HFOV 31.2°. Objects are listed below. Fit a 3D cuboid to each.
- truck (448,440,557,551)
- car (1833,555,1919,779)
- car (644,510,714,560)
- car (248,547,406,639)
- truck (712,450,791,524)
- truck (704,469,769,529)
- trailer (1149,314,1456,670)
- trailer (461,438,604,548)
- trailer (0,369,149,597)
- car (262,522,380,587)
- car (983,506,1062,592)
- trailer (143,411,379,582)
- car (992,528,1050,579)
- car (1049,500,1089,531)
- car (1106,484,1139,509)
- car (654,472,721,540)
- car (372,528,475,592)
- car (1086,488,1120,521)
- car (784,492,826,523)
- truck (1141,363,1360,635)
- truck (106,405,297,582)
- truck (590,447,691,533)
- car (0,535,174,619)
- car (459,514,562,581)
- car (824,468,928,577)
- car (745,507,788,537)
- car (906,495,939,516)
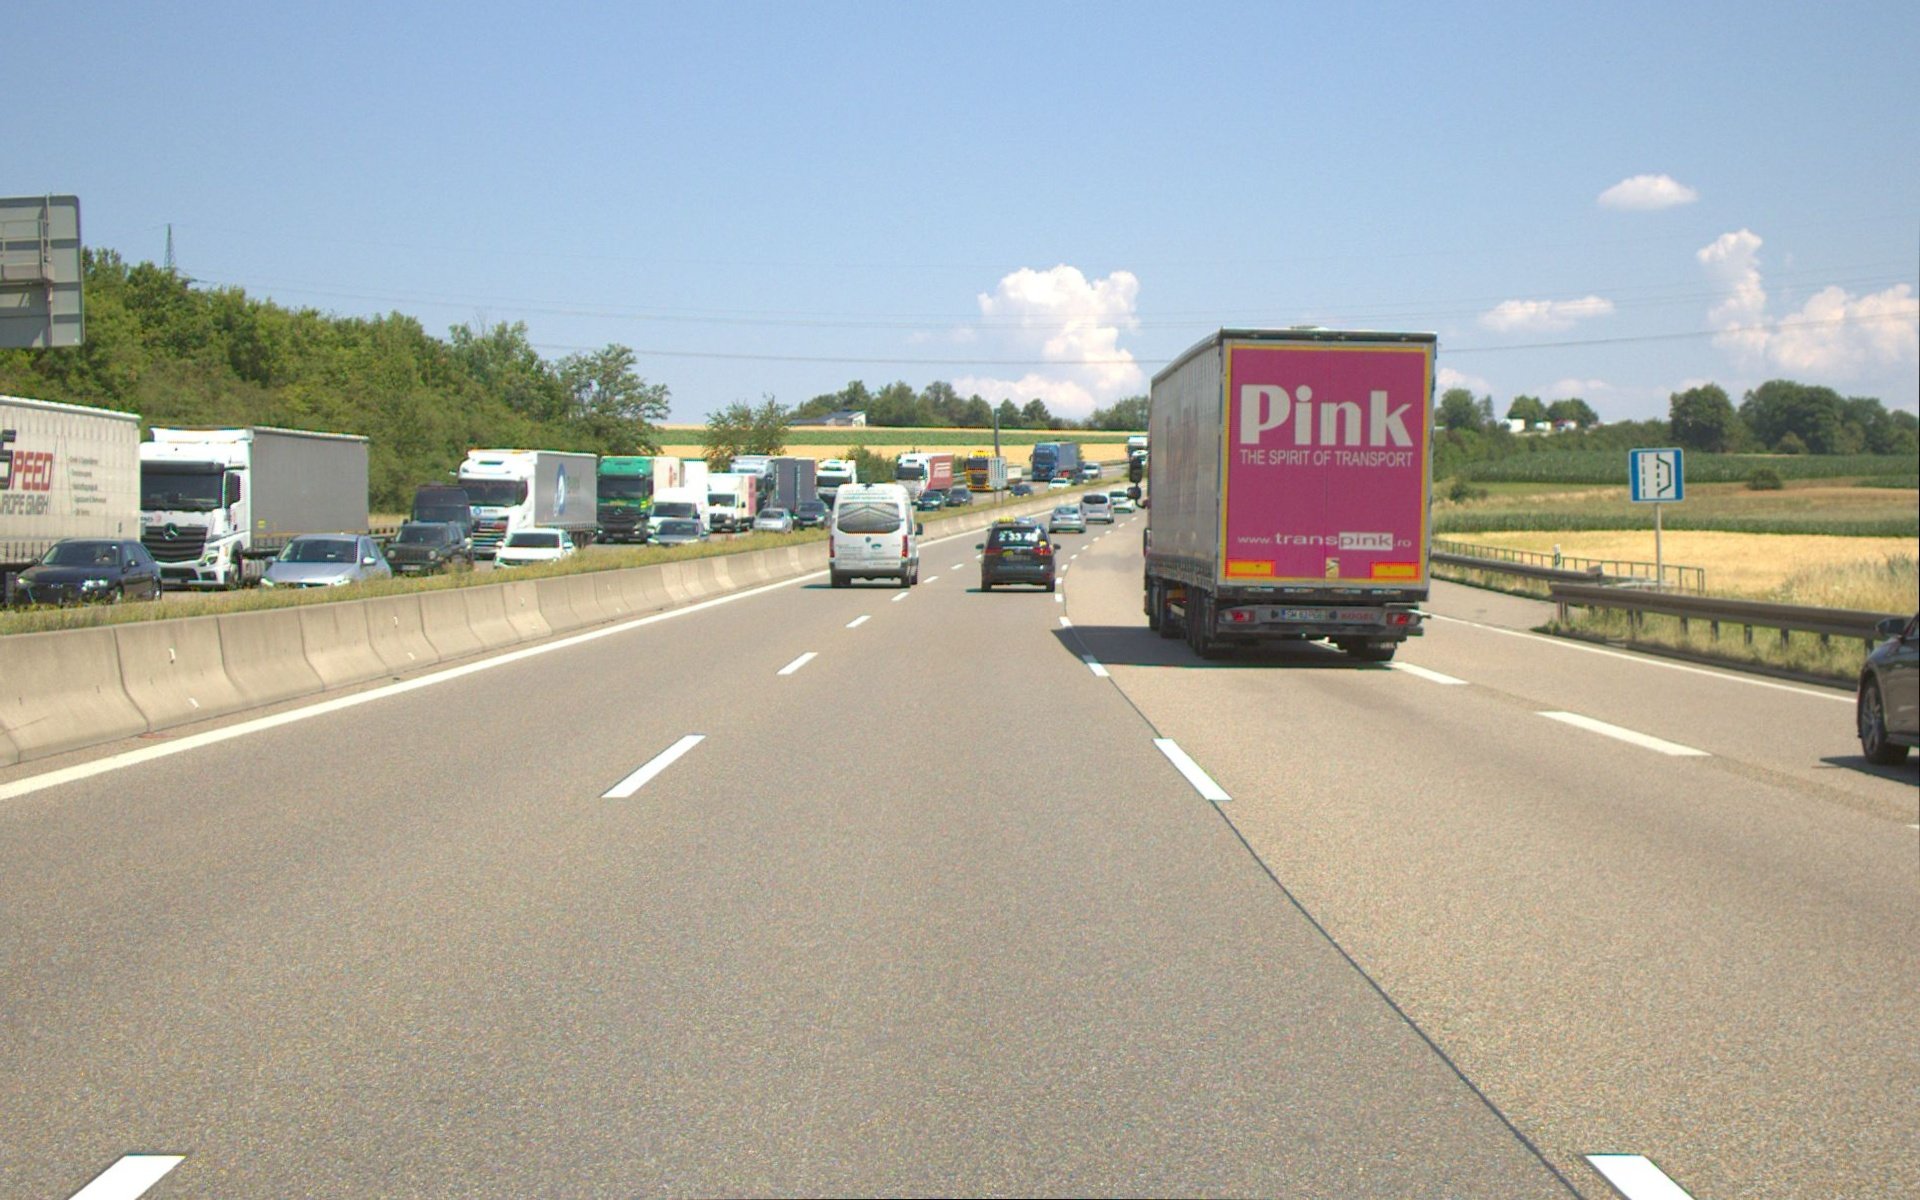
[{"bbox_3d":[-17.052,-3.905,128.503,2.853,4.022,6.604,0,2,3],"label":"truck"},{"bbox_3d":[7.171,0.450,22.486,1.761,1.466,4.536,1,0,0],"label":"car"},{"bbox_3d":[-9.694,-2.263,118.925,1.932,1.682,4.796,0,1,1],"label":"car"},{"bbox_3d":[-11.471,-0.159,62.583,1.993,1.573,4.595,0,1,0],"label":"car"},{"bbox_3d":[-12.141,-6.654,201.211,3.002,4.219,10.733,0,2,5],"label":"truck"},{"bbox_3d":[-12.190,-5.546,188.240,2.539,3.196,7.589,0,2,4],"label":"truck"},{"bbox_3d":[4.360,-1.481,46.937,2.918,4.103,13.859,1,2,1],"label":"trailer"},{"bbox_3d":[-16.683,-4.218,135.427,2.903,4.072,14.444,0,2,4],"label":"trailer"},{"bbox_3d":[-19.293,-2.310,68.287,2.811,4.263,13.869,1,1,1],"label":"trailer"},{"bbox_3d":[-14.905,-1.062,80.396,1.881,1.469,4.406,0,0,1],"label":"car"},{"bbox_3d":[1.480,-1.248,82.943,1.847,1.854,4.206,0,4,0],"label":"car"},{"bbox_3d":[-18.478,-2.708,92.066,2.982,4.192,14.193,1,1,2],"label":"trailer"},{"bbox_3d":[2.175,-1.647,121.768,1.993,1.744,4.000,1,0,1],"label":"car"},{"bbox_3d":[5.791,-4.490,182.393,1.994,1.579,4.000,0,1,3],"label":"car"},{"bbox_3d":[11.372,-7.270,240.645,1.994,1.546,4.000,2,4,6],"label":"car"},{"bbox_3d":[-11.831,-4.060,149.595,2.139,2.776,6.625,1,0,2],"label":"car"},{"bbox_3d":[-14.726,-1.124,94.595,1.993,1.709,4.792,0,1,1],"label":"car"},{"bbox_3d":[8.614,-5.738,206.801,1.994,1.897,4.000,0,0,2],"label":"car"},{"bbox_3d":[-8.699,-5.215,193.310,1.861,1.636,5.113,0,0,3],"label":"car"},{"bbox_3d":[4.462,-1.596,54.129,2.916,3.994,6.511,1,2,1],"label":"truck"},{"bbox_3d":[-18.759,-2.609,85.450,2.962,4.195,6.604,1,1,3],"label":"truck"},{"bbox_3d":[-15.006,-5.242,162.314,2.843,3.885,11.247,-1,2,4],"label":"truck"},{"bbox_3d":[-15.805,-0.447,62.482,1.876,1.429,4.925,1,1,0],"label":"car"},{"bbox_3d":[-11.207,-1.294,85.942,1.993,1.638,4.407,0,0,0],"label":"car"},{"bbox_3d":[-2.071,-1.902,86.170,2.180,2.616,4.672,1,0,4],"label":"car"},{"bbox_3d":[-10.056,-4.061,178.624,1.752,1.455,4.858,1,0,2],"label":"car"},{"bbox_3d":[-2.797,-7.111,257.554,1.994,1.522,4.772,1,2,5],"label":"car"}]
